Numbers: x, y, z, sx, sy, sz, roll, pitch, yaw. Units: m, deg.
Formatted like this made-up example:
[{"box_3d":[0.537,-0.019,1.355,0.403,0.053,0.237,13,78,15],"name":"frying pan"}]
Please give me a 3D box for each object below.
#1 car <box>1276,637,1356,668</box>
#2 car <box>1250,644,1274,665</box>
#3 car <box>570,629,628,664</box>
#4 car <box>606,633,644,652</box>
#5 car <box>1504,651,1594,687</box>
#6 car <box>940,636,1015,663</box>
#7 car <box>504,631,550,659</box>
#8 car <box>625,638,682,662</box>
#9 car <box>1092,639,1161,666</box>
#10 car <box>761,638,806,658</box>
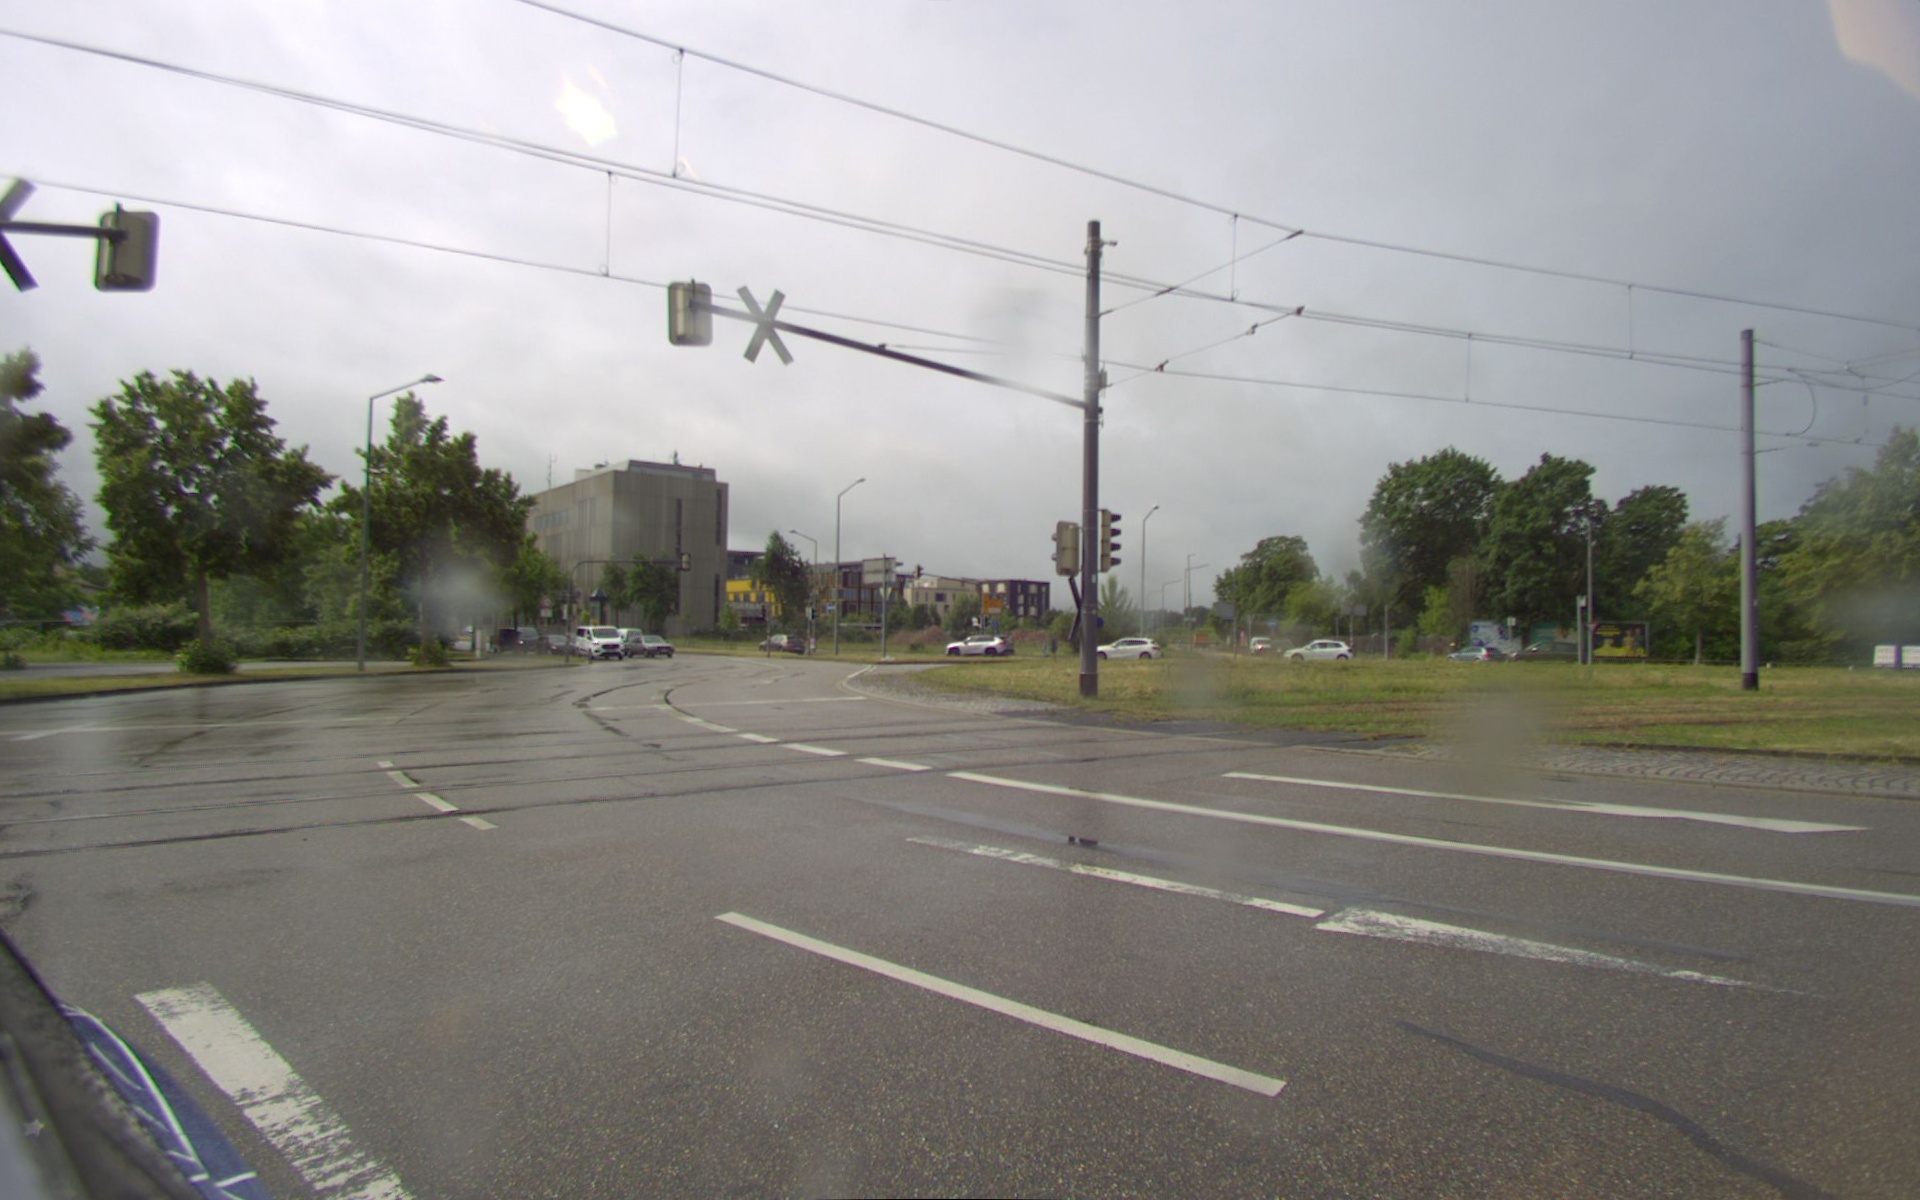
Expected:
[{"box_3d":[21.607,3.195,61.569,4.433,1.685,1.856,1,-3,18],"name":"car"},{"box_3d":[26.069,4.741,87.448,1.858,1.676,4.461,1,-4,15],"name":"car"},{"box_3d":[-22.052,2.849,61.688,2.044,2.003,4.811,3,-4,-36],"name":"car"},{"box_3d":[-31.540,4.007,95.151,1.838,1.776,4.559,3,-4,-39],"name":"car"},{"box_3d":[30.077,3.490,51.827,3.801,1.685,1.850,0,-2,26],"name":"car"},{"box_3d":[1.111,3.171,65.114,4.457,1.676,1.860,-2,-3,25],"name":"car"},{"box_3d":[-32.239,3.384,75.298,2.045,2.003,4.810,3,-4,-37],"name":"car"},{"box_3d":[-19.413,3.141,63.951,1.838,1.391,4.559,1,-2,-40],"name":"car"},{"box_3d":[9.939,3.135,60.355,3.872,1.519,1.717,0,-3,18],"name":"car"},{"box_3d":[-12.690,3.478,72.751,1.706,1.424,4.139,2,-4,-33],"name":"car"}]
